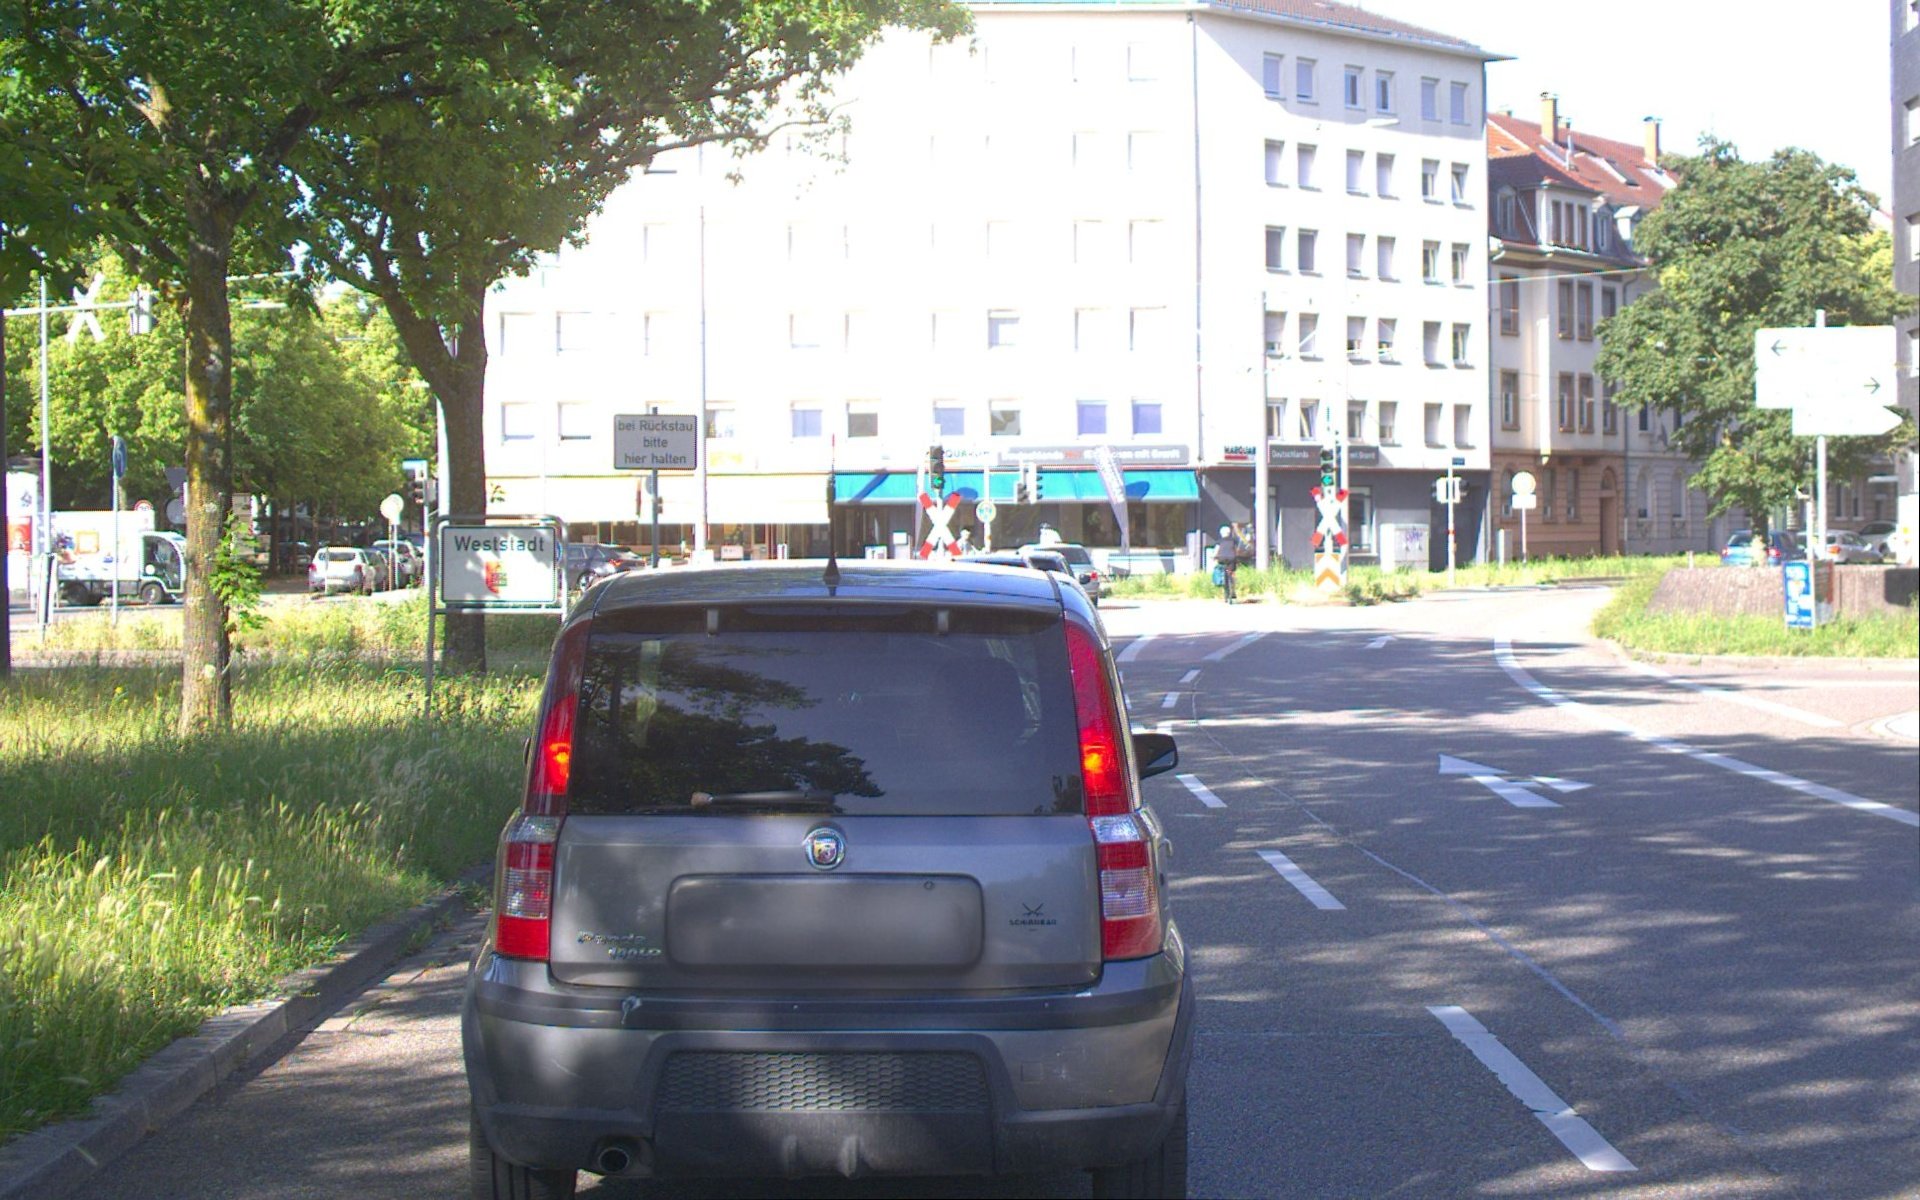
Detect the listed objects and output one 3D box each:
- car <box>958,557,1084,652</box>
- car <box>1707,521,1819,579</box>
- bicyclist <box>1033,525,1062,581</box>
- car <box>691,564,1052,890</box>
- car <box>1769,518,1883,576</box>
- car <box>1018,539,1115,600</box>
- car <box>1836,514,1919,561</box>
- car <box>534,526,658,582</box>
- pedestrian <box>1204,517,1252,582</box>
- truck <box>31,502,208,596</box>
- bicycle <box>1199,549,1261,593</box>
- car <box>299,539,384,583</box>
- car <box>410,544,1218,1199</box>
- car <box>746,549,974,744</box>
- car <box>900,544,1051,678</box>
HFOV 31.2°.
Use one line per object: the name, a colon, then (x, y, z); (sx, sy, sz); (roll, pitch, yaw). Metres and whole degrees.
car: (0.880, 0.041, 48.271); (1.690, 1.249, 3.626); (0, 1, 2)
car: (21.064, -1.330, 90.137); (1.778, 1.437, 3.612); (1, 2, 32)
bicyclist: (2.125, -1.149, 83.626); (0.530, 1.352, 0.598); (-1, 1, -20)
car: (-0.422, 0.555, 17.427); (1.621, 1.424, 3.688); (-1, 1, -1)
car: (23.762, -1.457, 94.265); (1.823, 1.503, 3.993); (0, 2, 33)
car: (2.224, -0.668, 72.689); (1.993, 1.238, 4.000); (0, 1, 1)
car: (32.607, -2.204, 120.767); (1.904, 1.588, 4.001); (-1, 1, -13)
car: (-9.885, -1.255, 93.227); (1.657, 1.496, 3.592); (-1, 1, -38)
pedestrian: (5.883, -1.111, 75.620); (0.773, 1.423, 0.939); (1, 0, -14)
truck: (-21.917, -1.339, 89.721); (4.097, 2.418, 1.793); (0, 1, 6)
bicycle: (5.917, -0.633, 75.476); (0.782, 0.948, 1.857); (1, 0, -15)
car: (-19.393, -1.232, 107.922); (1.993, 1.305, 4.000); (-1, 1, -1)
car: (-0.271, 0.625, 8.736); (1.660, 1.505, 3.251); (0, 1, 1)
car: (-0.827, 0.328, 28.919); (1.760, 1.481, 4.294); (-1, 1, -1)
car: (0.202, 0.091, 39.254); (1.646, 1.433, 3.396); (0, 1, 1)
